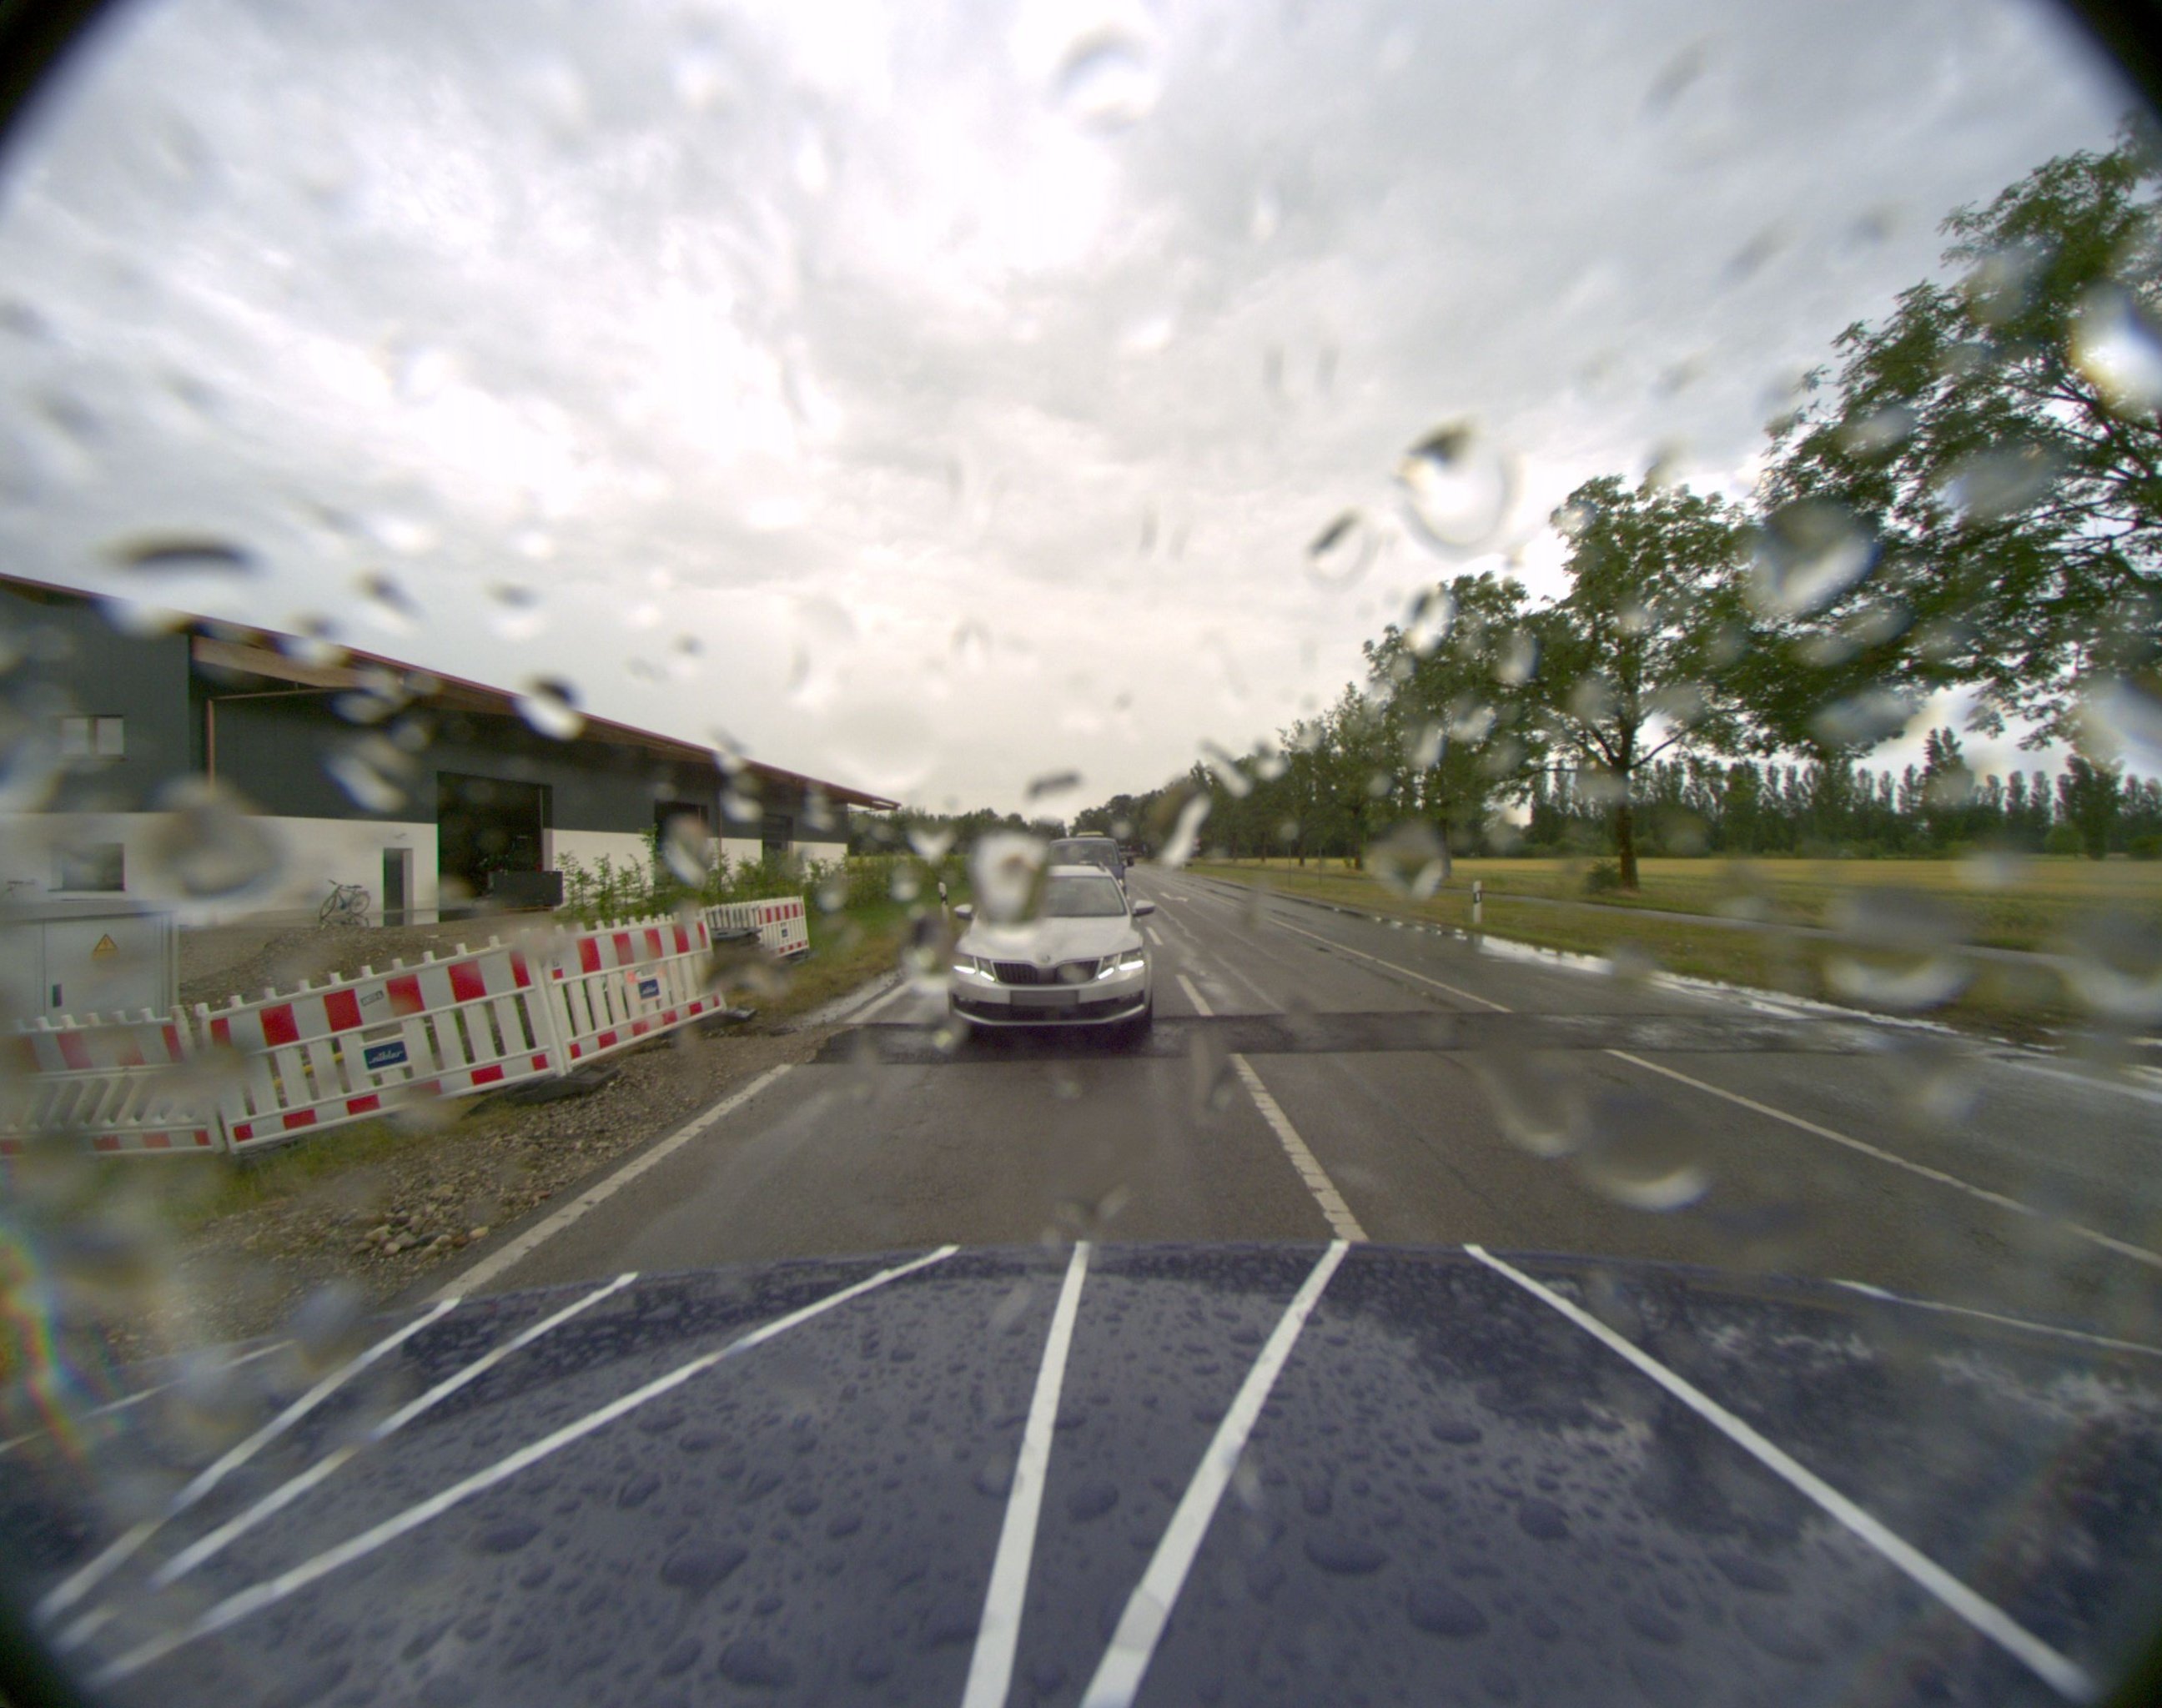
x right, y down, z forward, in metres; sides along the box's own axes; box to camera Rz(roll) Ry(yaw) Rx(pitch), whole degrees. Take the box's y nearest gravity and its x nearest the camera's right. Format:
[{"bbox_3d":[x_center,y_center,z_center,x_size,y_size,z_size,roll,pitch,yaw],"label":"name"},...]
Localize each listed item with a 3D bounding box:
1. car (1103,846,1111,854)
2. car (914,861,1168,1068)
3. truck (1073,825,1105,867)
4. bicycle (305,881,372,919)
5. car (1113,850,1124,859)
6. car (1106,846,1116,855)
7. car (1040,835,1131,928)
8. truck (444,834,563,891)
[{"bbox_3d":[5.694,-0.896,165.317,1.708,1.661,4.156,1,1,2],"label":"car"},{"bbox_3d":[-0.266,0.847,7.956,1.843,1.379,4.568,-2,1,1],"label":"car"},{"bbox_3d":[0.873,-0.753,76.728,2.931,3.829,14.119,0,1,1],"label":"truck"},{"bbox_3d":[-23.067,1.412,23.644,0.391,1.066,1.661,0,1,1],"label":"bicycle"},{"bbox_3d":[6.629,0.097,134.182,1.724,1.396,4.043,1,1,0],"label":"car"},{"bbox_3d":[6.842,-0.773,173.837,1.921,1.851,4.684,1,1,1],"label":"car"},{"bbox_3d":[0.118,0.558,17.881,1.892,1.939,4.000,0,1,1],"label":"car"},{"bbox_3d":[-32.295,0.407,42.763,2.496,2.996,5.343,0,1,1],"label":"truck"}]
